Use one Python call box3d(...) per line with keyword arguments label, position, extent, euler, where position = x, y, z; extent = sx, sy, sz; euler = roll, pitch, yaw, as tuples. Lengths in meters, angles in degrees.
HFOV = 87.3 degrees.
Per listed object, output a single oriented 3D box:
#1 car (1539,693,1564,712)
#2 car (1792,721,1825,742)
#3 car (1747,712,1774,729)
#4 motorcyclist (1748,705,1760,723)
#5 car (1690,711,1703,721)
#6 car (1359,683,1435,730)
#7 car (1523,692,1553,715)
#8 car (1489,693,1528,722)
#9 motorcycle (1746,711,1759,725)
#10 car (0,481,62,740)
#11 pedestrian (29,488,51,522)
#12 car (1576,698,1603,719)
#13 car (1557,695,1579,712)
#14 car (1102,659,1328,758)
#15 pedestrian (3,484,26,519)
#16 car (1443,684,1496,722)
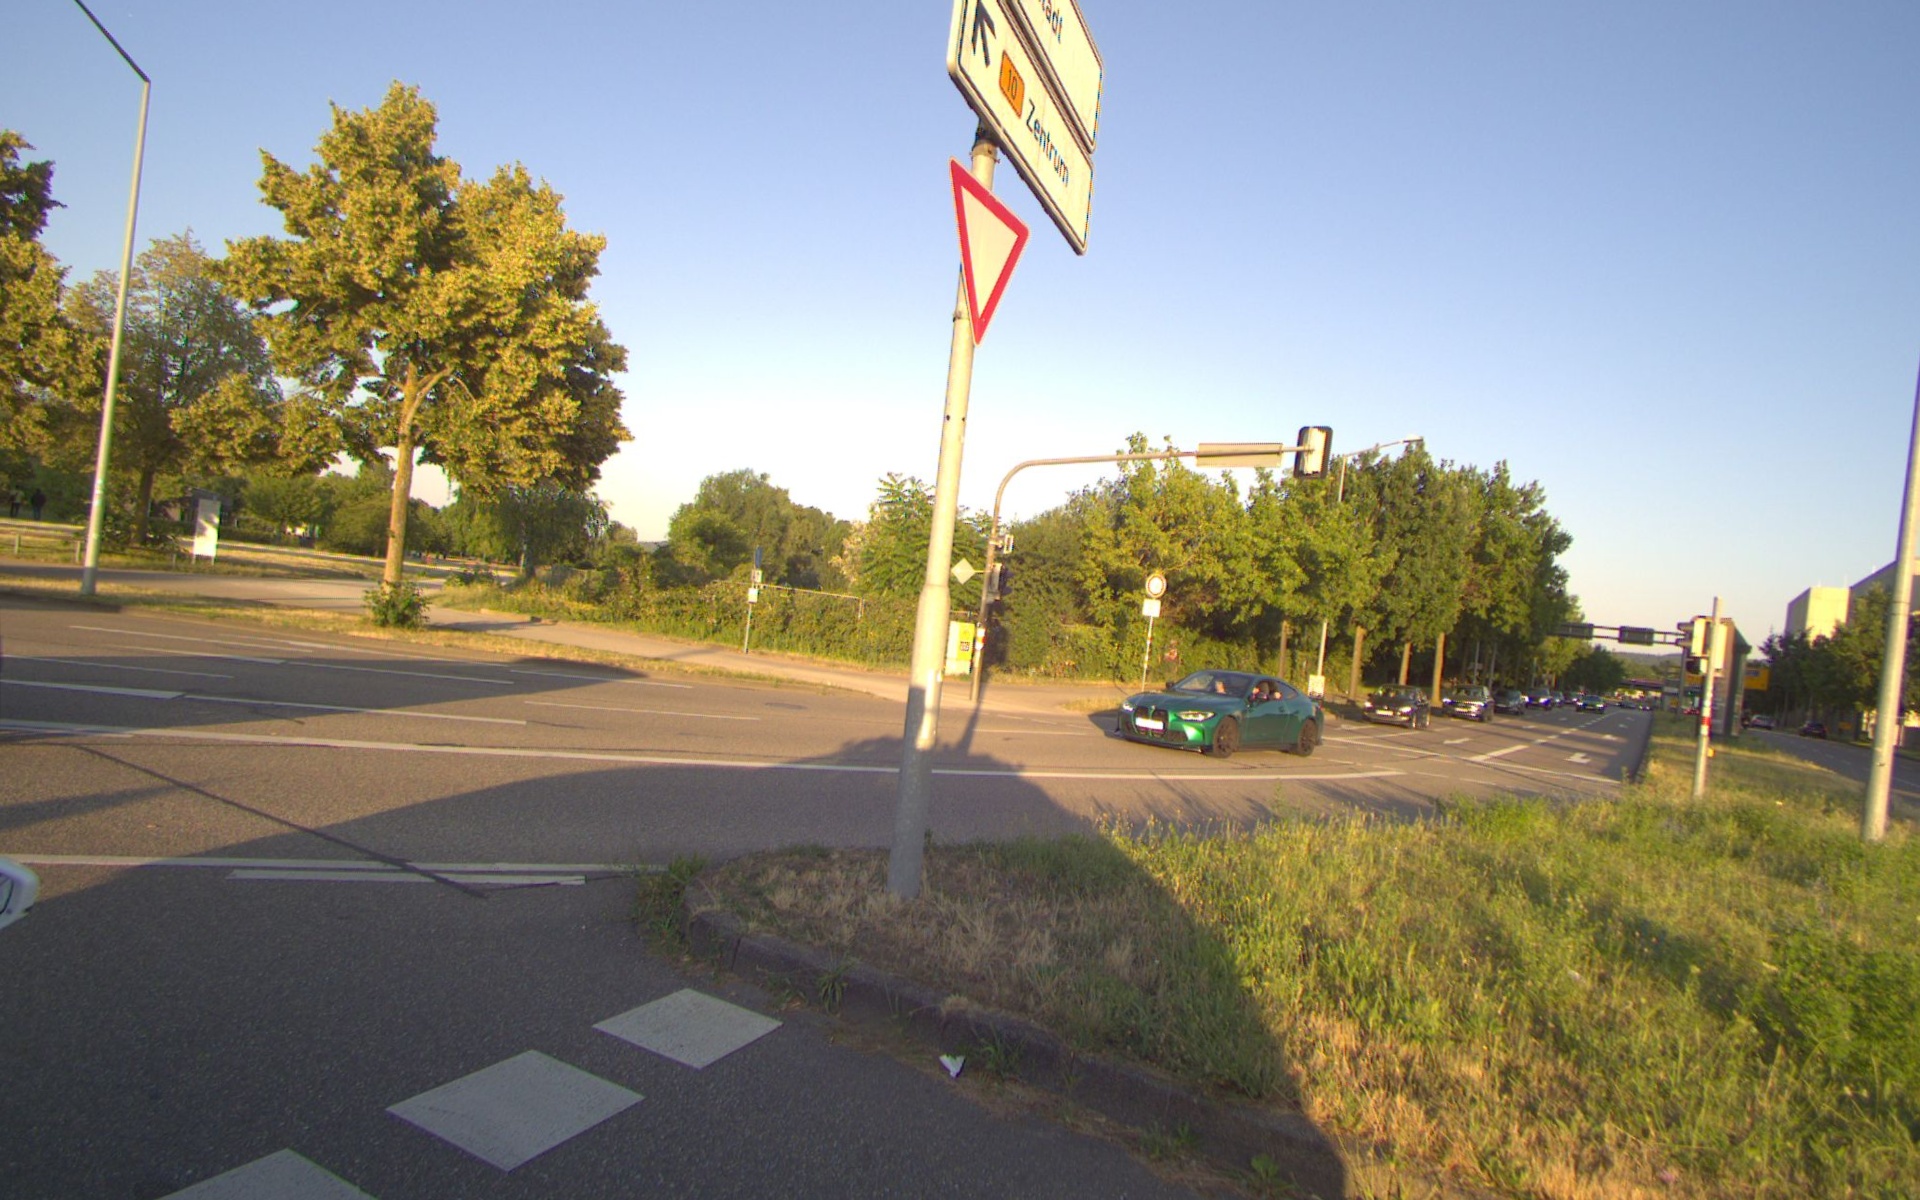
box3d(label="car", position=(54.121, 9.390, 92.024), extent=(1.594, 1.471, 3.707), euler=(5, -2, 35))
box3d(label="car", position=(79.336, 12.277, 94.079), extent=(1.774, 1.482, 3.989), euler=(7, 0, 34))
box3d(label="car", position=(85.285, 12.831, 107.192), extent=(1.774, 1.440, 4.437), euler=(7, 0, 34))
box3d(label="motorcyclist", position=(67.690, 9.700, 85.802), extent=(0.626, 1.425, 0.593), euler=(7, 0, 33))
box3d(label="car", position=(141.793, 22.301, 193.694), extent=(1.789, 1.543, 4.124), euler=(7, 0, 34))
box3d(label="car", position=(15.063, 3.664, 34.587), extent=(1.594, 1.324, 3.707), euler=(5, -2, 35))
box3d(label="car", position=(43.903, 7.870, 76.375), extent=(1.594, 1.536, 3.706), euler=(5, -2, 35))
box3d(label="car", position=(33.609, 6.569, 61.620), extent=(1.594, 1.536, 3.706), euler=(5, -2, 35))
box3d(label="motorcycle", position=(67.828, 10.102, 86.086), extent=(0.549, 1.114, 2.156), euler=(7, -1, 32))
box3d(label="car", position=(-7.741, -0.160, 5.252), extent=(4.083, 1.632, 1.713), euler=(8, -2, -24))
box3d(label="pedestrian", position=(-47.921, -4.955, 52.410), extent=(0.523, 1.646, 0.617), euler=(7, 0, -23))
box3d(label="car", position=(51.674, 8.929, 82.499), extent=(1.594, 1.471, 3.707), euler=(5, -2, 35))
box3d(label="car", position=(62.764, 10.692, 103.782), extent=(1.594, 1.471, 3.707), euler=(5, -2, 35))
box3d(label="car", position=(4.497, 1.902, 17.380), extent=(1.853, 1.324, 4.115), euler=(5, -2, 45))
box3d(label="pedestrian", position=(-48.531, -5.052, 51.631), extent=(0.525, 1.646, 0.578), euler=(7, 0, -21))
box3d(label="car", position=(24.114, 4.872, 47.548), extent=(1.594, 1.536, 3.706), euler=(5, -2, 35))
